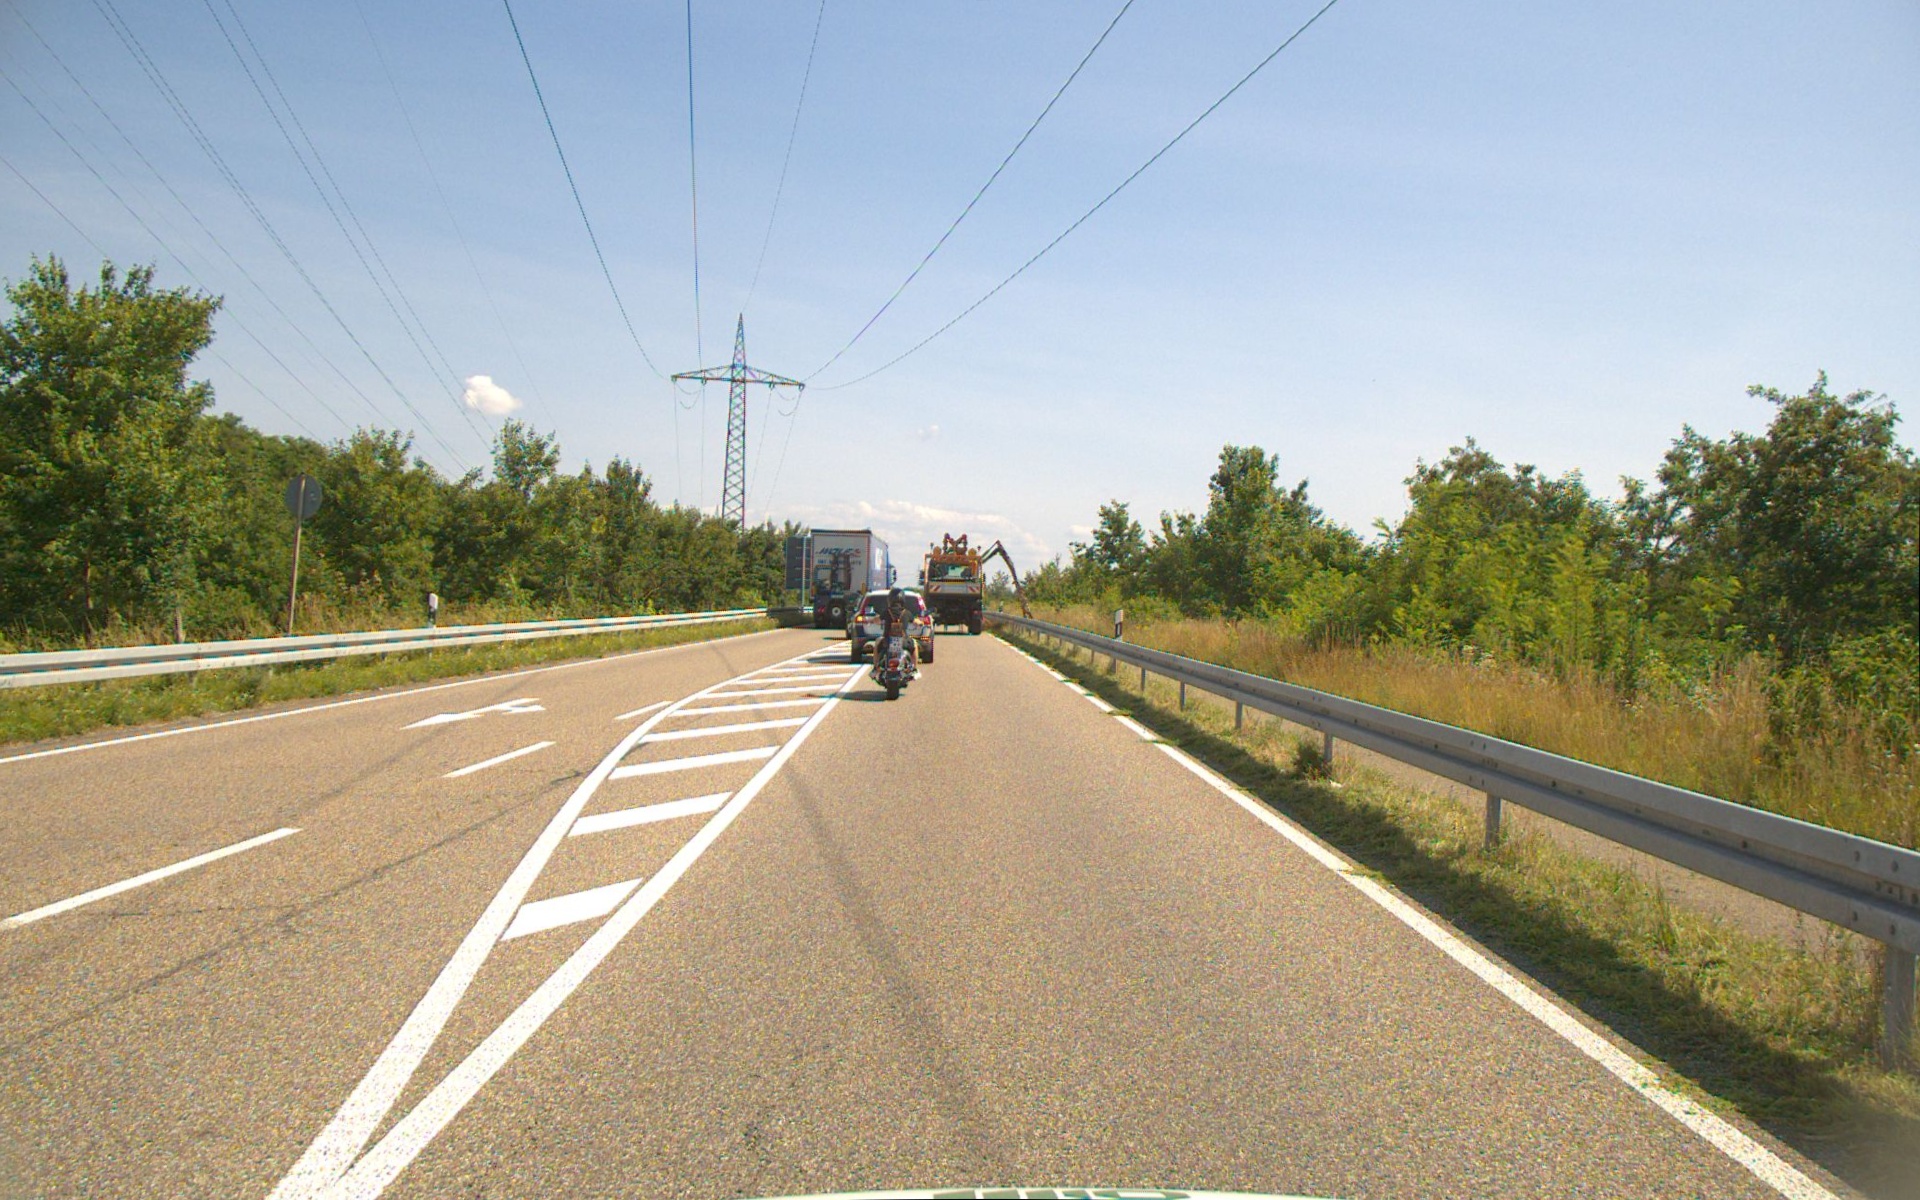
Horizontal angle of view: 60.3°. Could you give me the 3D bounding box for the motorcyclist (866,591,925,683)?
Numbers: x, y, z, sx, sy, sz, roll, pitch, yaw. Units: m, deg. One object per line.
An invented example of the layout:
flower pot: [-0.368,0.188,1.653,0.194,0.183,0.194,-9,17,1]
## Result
motorcyclist: [-0.940,0.522,24.104,0.820,1.303,0.919,1,0,-3]

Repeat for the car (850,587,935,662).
car: [-1.540,0.507,36.537,1.668,1.563,3.495,1,0,-5]

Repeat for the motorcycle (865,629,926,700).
motorcycle: [-0.942,0.917,23.988,0.841,0.931,2.226,0,0,-3]

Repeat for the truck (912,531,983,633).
truck: [-0.497,-0.691,65.358,2.560,3.776,6.776,1,0,-1]

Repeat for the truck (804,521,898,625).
truck: [-4.765,-1.143,75.533,2.906,4.260,14.824,1,0,1]
